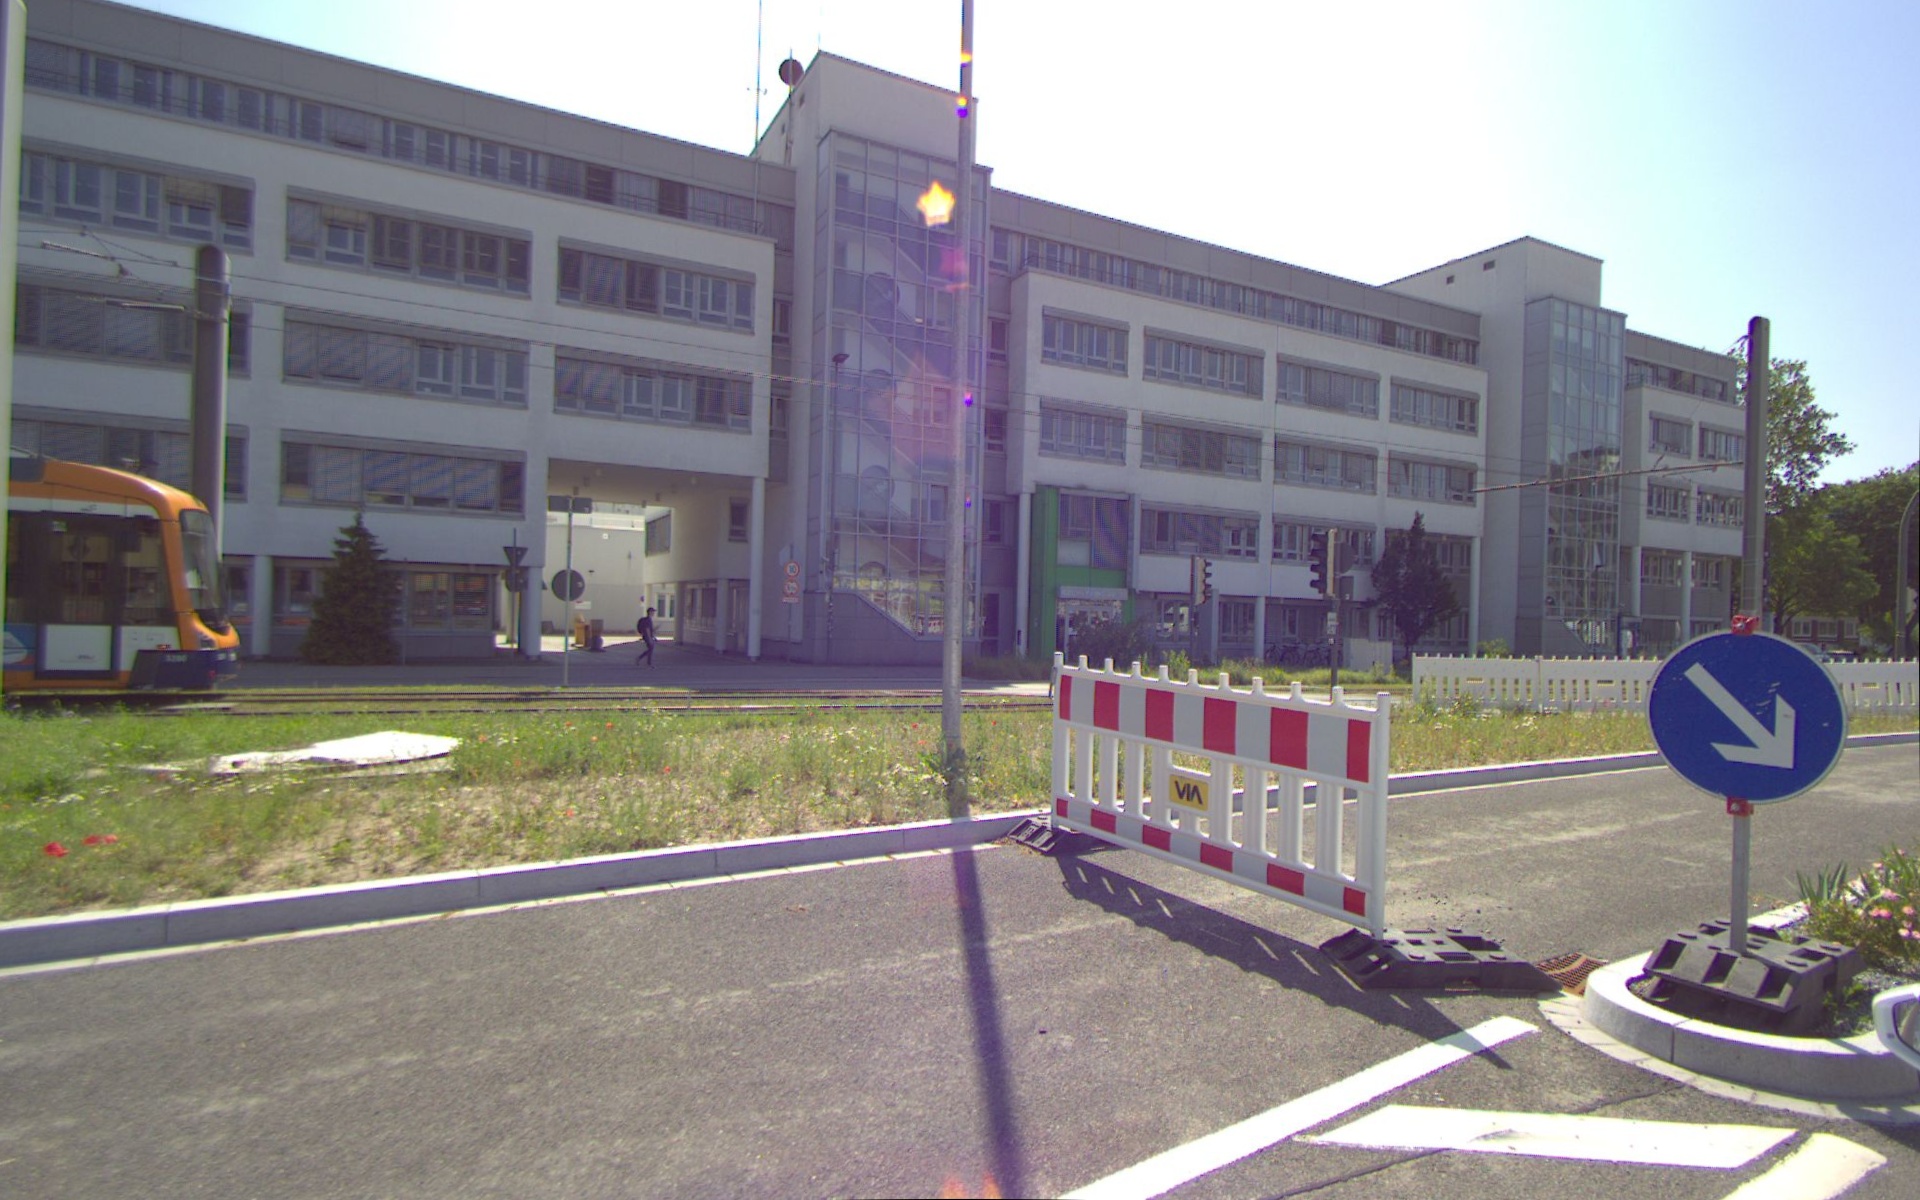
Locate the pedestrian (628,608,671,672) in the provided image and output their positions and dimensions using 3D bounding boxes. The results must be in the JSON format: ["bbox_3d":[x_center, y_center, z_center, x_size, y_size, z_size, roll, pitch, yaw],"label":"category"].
[{"bbox_3d":[-9.404,1.193,30.388,1.094,1.851,0.762,1,2,-27],"label":"pedestrian"}]

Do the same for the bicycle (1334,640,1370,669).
[{"bbox_3d":[17.721,2.455,45.419,0.432,1.205,1.641,1,1,-26],"label":"bicycle"}]

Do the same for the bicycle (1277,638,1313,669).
[{"bbox_3d":[14.567,2.323,43.684,0.514,1.205,1.644,2,1,-21],"label":"bicycle"}]

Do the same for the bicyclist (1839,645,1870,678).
[{"bbox_3d":[43.915,3.015,49.324,1.063,1.560,0.752,3,0,-26],"label":"bicyclist"}]

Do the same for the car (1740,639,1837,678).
[{"bbox_3d":[53.211,3.705,64.662,2.072,2.208,5.076,2,0,0],"label":"car"}]

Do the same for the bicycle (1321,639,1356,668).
[{"bbox_3d":[17.010,2.396,45.174,0.432,1.205,1.641,1,1,-25],"label":"bicycle"}]

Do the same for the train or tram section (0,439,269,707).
[{"bbox_3d":[-16.152,-0.509,12.866,11.624,3.497,2.616,2,1,-26],"label":"train or tram section"}]

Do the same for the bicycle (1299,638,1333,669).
[{"bbox_3d":[15.739,2.357,44.454,0.432,1.205,1.644,2,1,-21],"label":"bicycle"}]
